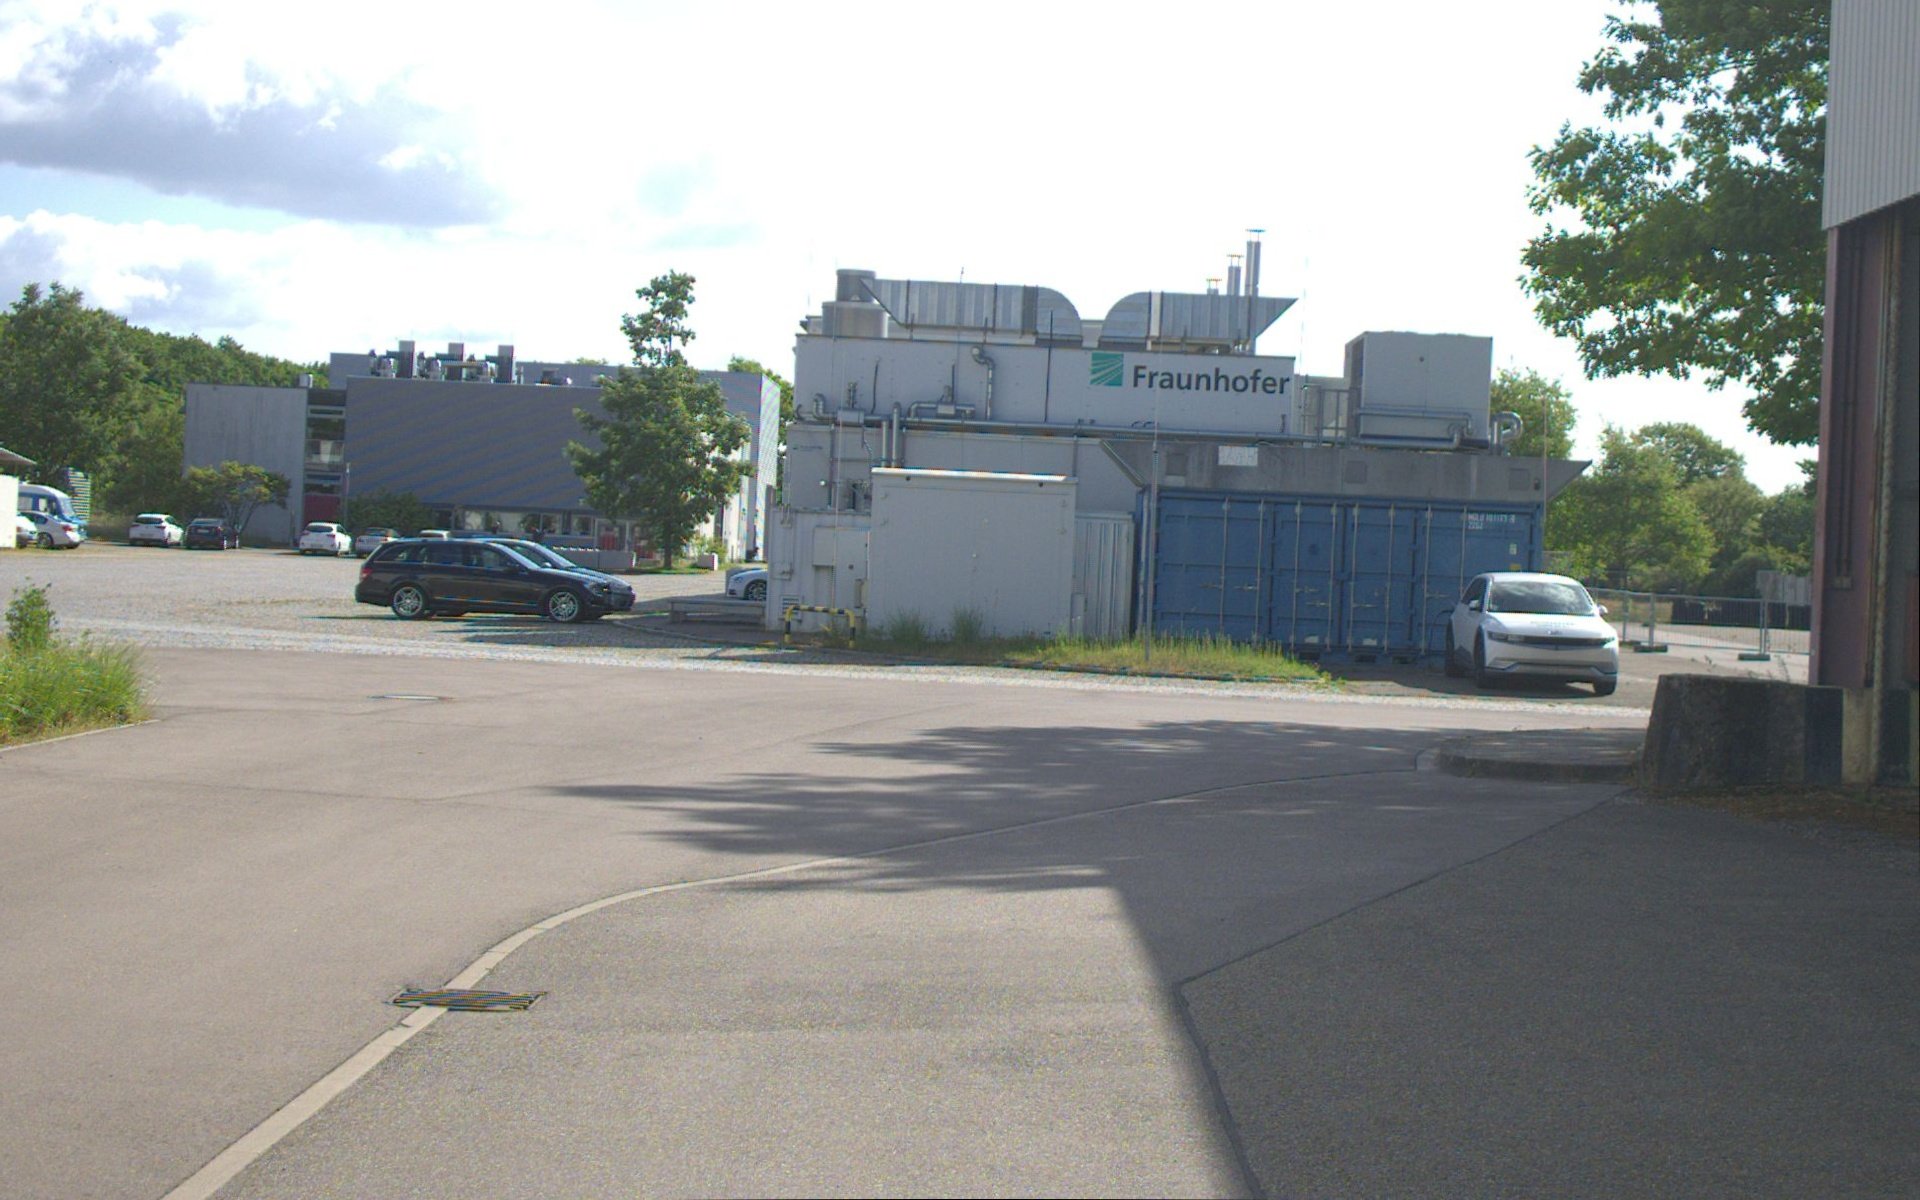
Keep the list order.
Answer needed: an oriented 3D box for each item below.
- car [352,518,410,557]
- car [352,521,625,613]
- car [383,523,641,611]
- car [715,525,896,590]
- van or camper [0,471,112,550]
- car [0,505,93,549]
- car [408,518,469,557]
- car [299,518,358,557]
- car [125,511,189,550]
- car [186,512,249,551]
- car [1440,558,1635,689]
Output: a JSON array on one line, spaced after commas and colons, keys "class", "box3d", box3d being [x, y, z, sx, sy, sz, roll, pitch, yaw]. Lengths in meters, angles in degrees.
[{"class": "car", "box3d": [-26.703, -2.859, 158.627, 1.993, 1.730, 4.000, 1, 0, 0]}, {"class": "car", "box3d": [-8.410, -0.598, 61.566, 4.526, 1.503, 1.909, 2, 1, 3]}, {"class": "car", "box3d": [-8.411, -0.626, 64.803, 4.526, 1.503, 1.909, 2, 1, 3]}, {"class": "car", "box3d": [-3.980, -1.108, 89.096, 4.526, 1.503, 1.909, 2, 1, 2]}, {"class": "van or camper", "box3d": [-36.618, -3.549, 135.467, 5.714, 2.918, 2.474, 2, 1, -1]}, {"class": "car", "box3d": [-35.610, -2.819, 132.200, 3.987, 1.604, 2.000, 2, 1, -1]}, {"class": "car", "box3d": [-24.114, -2.864, 158.931, 2.193, 1.730, 4.000, 1, 0, 0]}, {"class": "car", "box3d": [-29.197, -2.889, 159.016, 1.993, 1.730, 4.000, 1, 0, 0]}, {"class": "car", "box3d": [-37.039, -3.188, 158.689, 1.993, 1.730, 4.000, 1, 0, 0]}, {"class": "car", "box3d": [-34.233, -3.157, 158.592, 1.993, 1.730, 4.000, 1, 0, 0]}, {"class": "car", "box3d": [8.097, 0.296, 48.565, 1.993, 1.580, 4.173, 2, 2, 0]}]
